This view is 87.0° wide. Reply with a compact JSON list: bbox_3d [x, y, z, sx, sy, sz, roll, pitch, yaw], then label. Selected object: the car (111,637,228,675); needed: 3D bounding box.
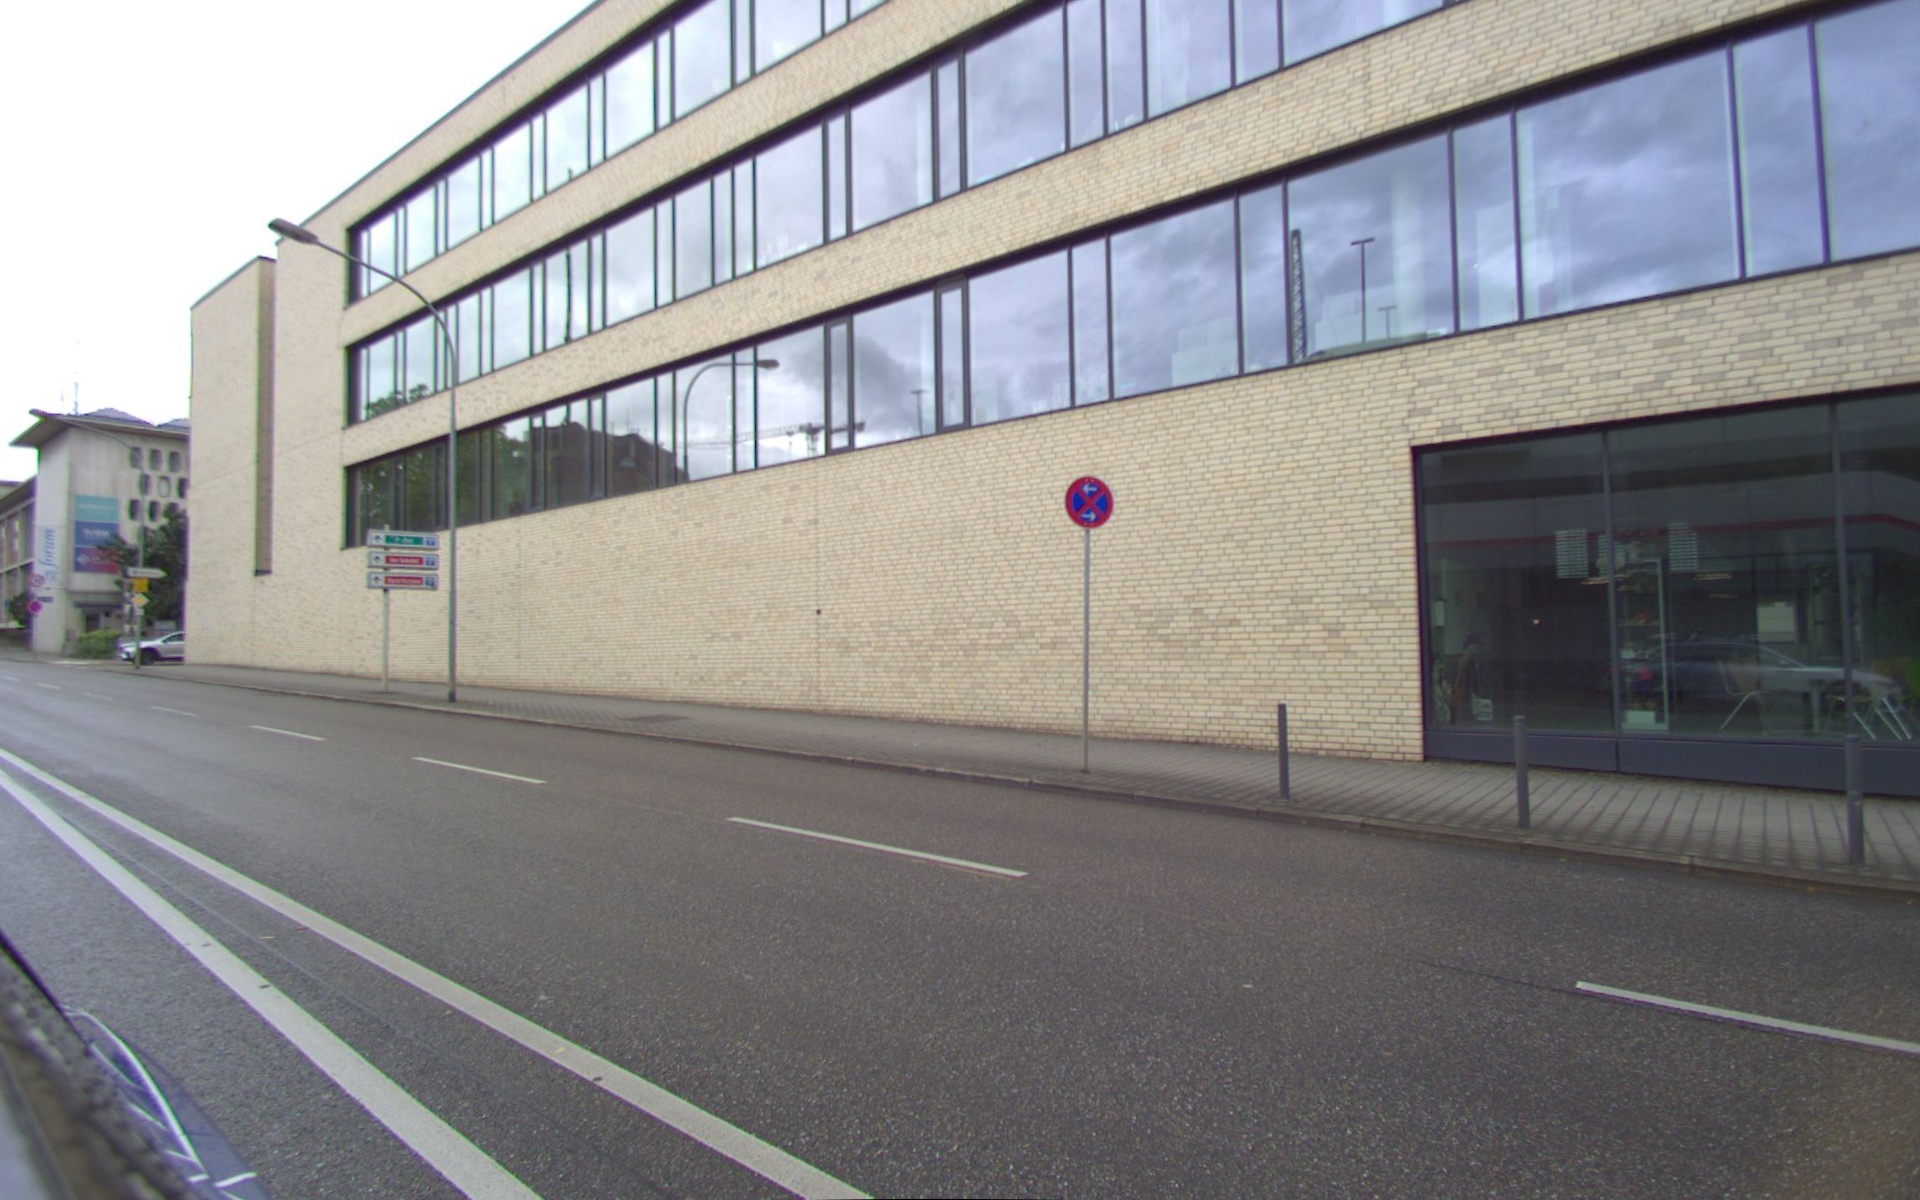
[{"bbox_3d":[-36.790,2.563,47.168,1.801,1.537,4.001,-3,-1,40],"label":"car"}]
